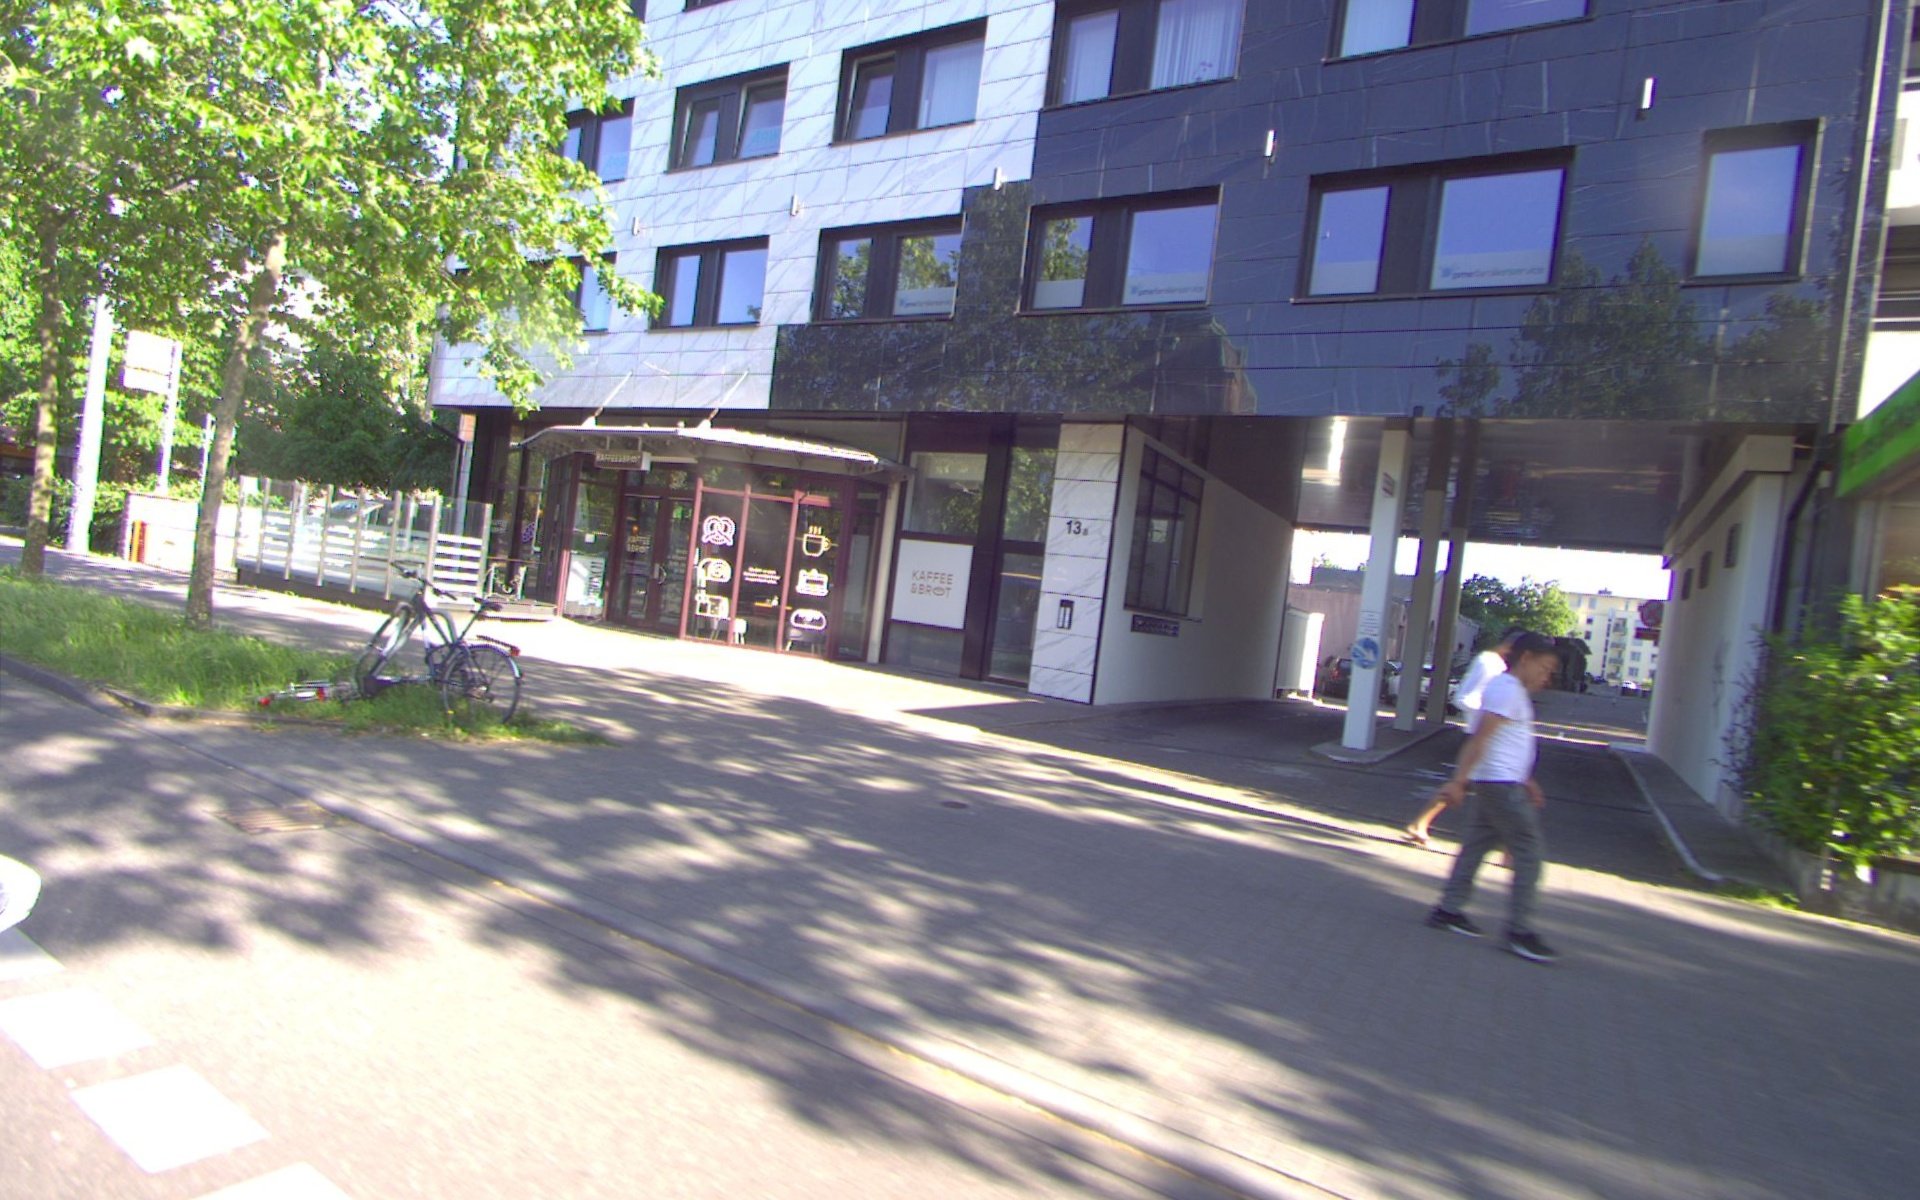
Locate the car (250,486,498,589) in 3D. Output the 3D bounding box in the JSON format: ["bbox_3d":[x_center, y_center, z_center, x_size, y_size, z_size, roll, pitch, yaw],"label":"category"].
[{"bbox_3d":[-14.317,-1.475,24.896,1.881,2.011,4.898,7,2,32],"label":"car"}]

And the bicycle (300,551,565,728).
[{"bbox_3d":[-4.277,0.300,8.175,1.812,1.147,0.790,7,1,19],"label":"bicycle"}]

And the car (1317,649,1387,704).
[{"bbox_3d":[14.078,2.699,36.351,1.788,1.638,4.001,7,0,16],"label":"car"}]

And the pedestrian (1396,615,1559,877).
[{"bbox_3d":[3.889,1.055,7.562,0.864,1.766,0.560,7,2,31],"label":"pedestrian"}]

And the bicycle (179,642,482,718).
[{"bbox_3d":[-4.981,0.629,8.037,1.366,0.357,1.610,7,0,32],"label":"bicycle"}]

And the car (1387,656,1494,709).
[{"bbox_3d":[19.109,3.243,40.007,3.554,1.562,1.551,7,0,32],"label":"car"}]

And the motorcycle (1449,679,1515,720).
[{"bbox_3d":[18.163,3.453,35.103,1.074,1.079,2.539,7,0,6],"label":"motorcycle"}]

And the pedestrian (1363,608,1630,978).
[{"bbox_3d":[2.885,0.972,5.456,1.034,1.726,0.560,7,2,31],"label":"pedestrian"}]

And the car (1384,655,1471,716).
[{"bbox_3d":[15.902,2.857,34.413,1.906,1.638,4.001,7,0,16],"label":"car"}]

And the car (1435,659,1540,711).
[{"bbox_3d":[21.462,3.448,40.965,3.554,1.562,1.551,7,1,32],"label":"car"}]
